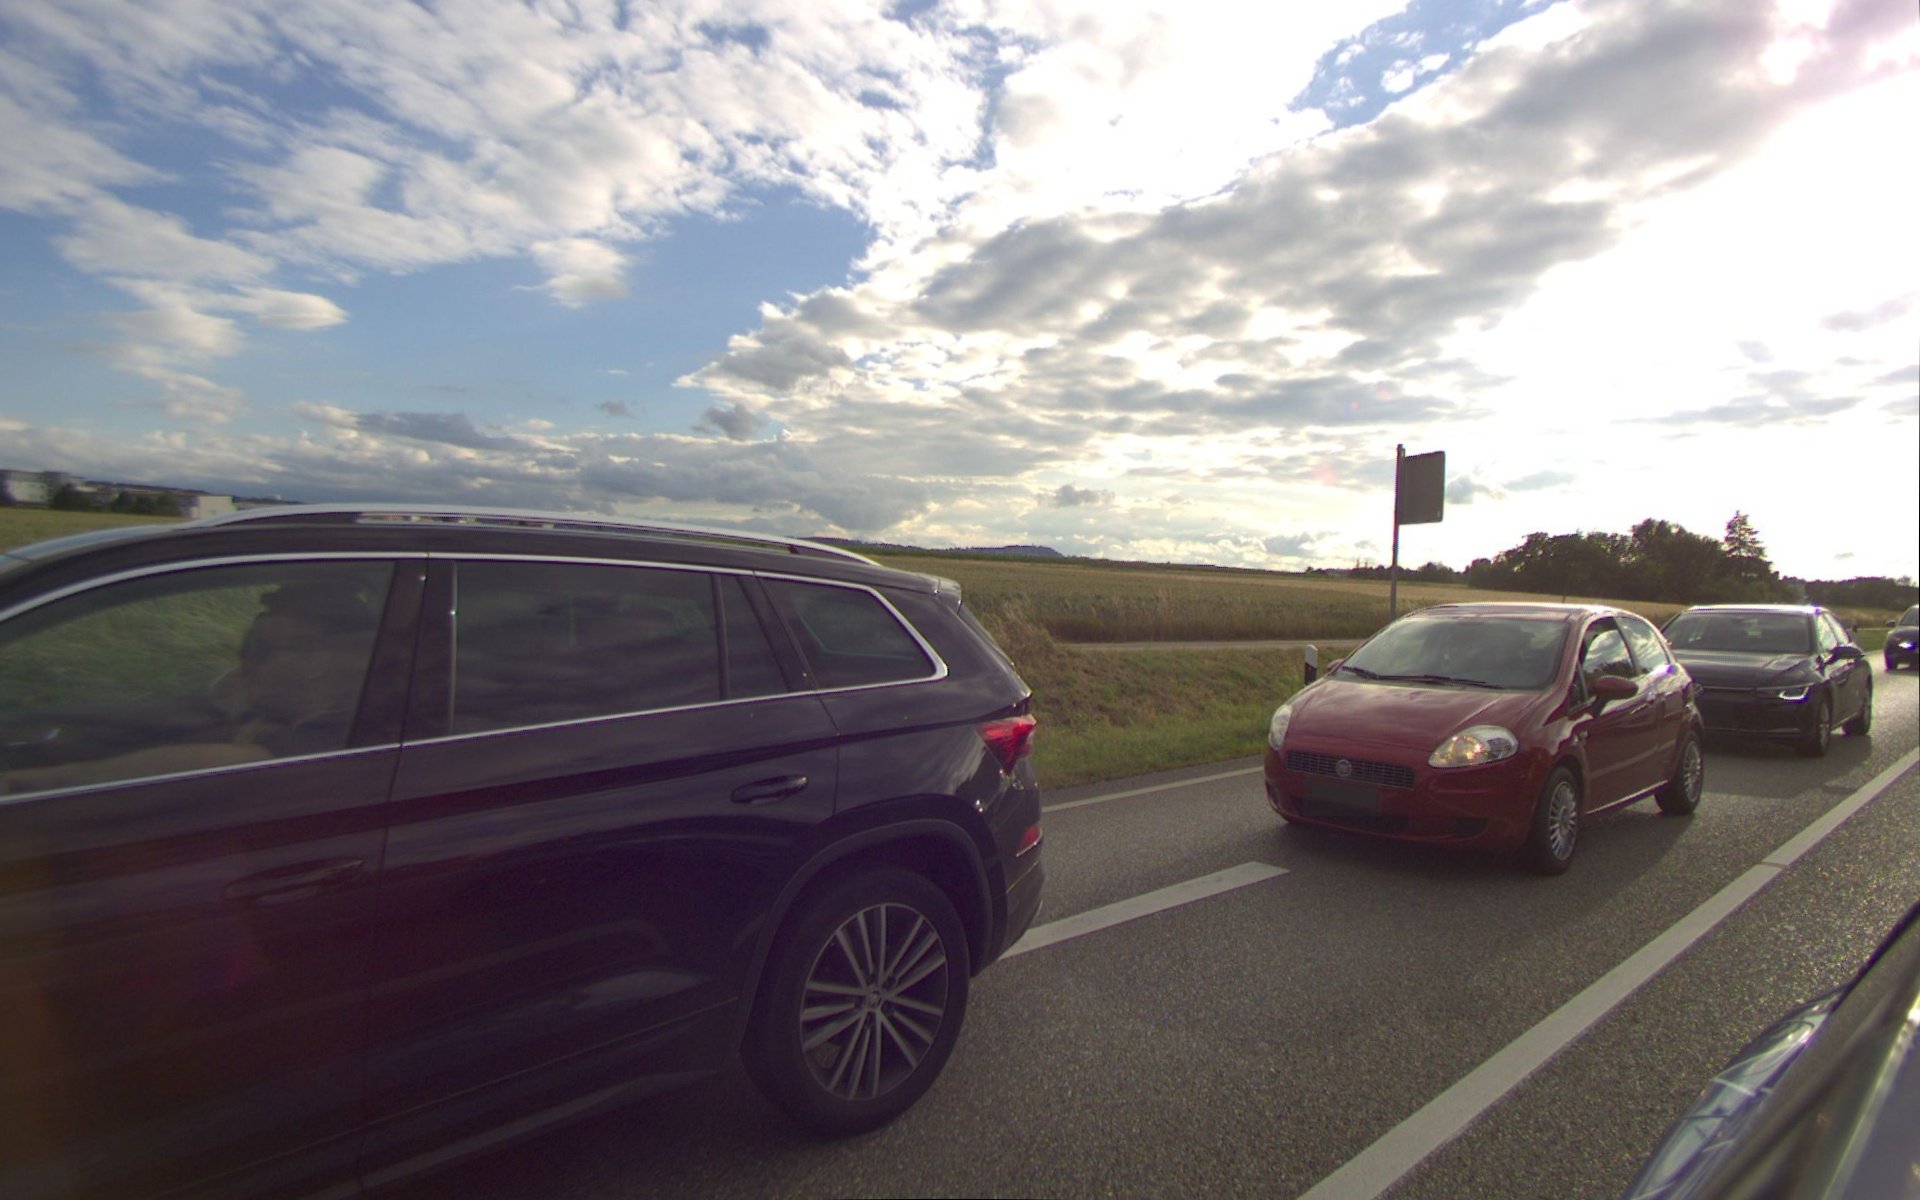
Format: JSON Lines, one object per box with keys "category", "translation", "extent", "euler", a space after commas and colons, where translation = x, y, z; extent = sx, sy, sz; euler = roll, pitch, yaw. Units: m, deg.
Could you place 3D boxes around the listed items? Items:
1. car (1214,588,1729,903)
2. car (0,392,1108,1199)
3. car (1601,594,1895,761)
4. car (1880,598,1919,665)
{"category": "car", "translation": [3.535, 0.670, 6.695], "extent": [3.840, 1.475, 1.710], "euler": [-1, 0, -41]}
{"category": "car", "translation": [-1.806, 0.533, 2.547], "extent": [4.477, 1.730, 1.839], "euler": [-1, 0, -41]}
{"category": "car", "translation": [8.687, 0.686, 11.045], "extent": [3.962, 1.475, 1.797], "euler": [0, 0, -41]}
{"category": "car", "translation": [22.991, 0.691, 23.603], "extent": [3.962, 1.475, 1.797], "euler": [0, 0, -41]}
